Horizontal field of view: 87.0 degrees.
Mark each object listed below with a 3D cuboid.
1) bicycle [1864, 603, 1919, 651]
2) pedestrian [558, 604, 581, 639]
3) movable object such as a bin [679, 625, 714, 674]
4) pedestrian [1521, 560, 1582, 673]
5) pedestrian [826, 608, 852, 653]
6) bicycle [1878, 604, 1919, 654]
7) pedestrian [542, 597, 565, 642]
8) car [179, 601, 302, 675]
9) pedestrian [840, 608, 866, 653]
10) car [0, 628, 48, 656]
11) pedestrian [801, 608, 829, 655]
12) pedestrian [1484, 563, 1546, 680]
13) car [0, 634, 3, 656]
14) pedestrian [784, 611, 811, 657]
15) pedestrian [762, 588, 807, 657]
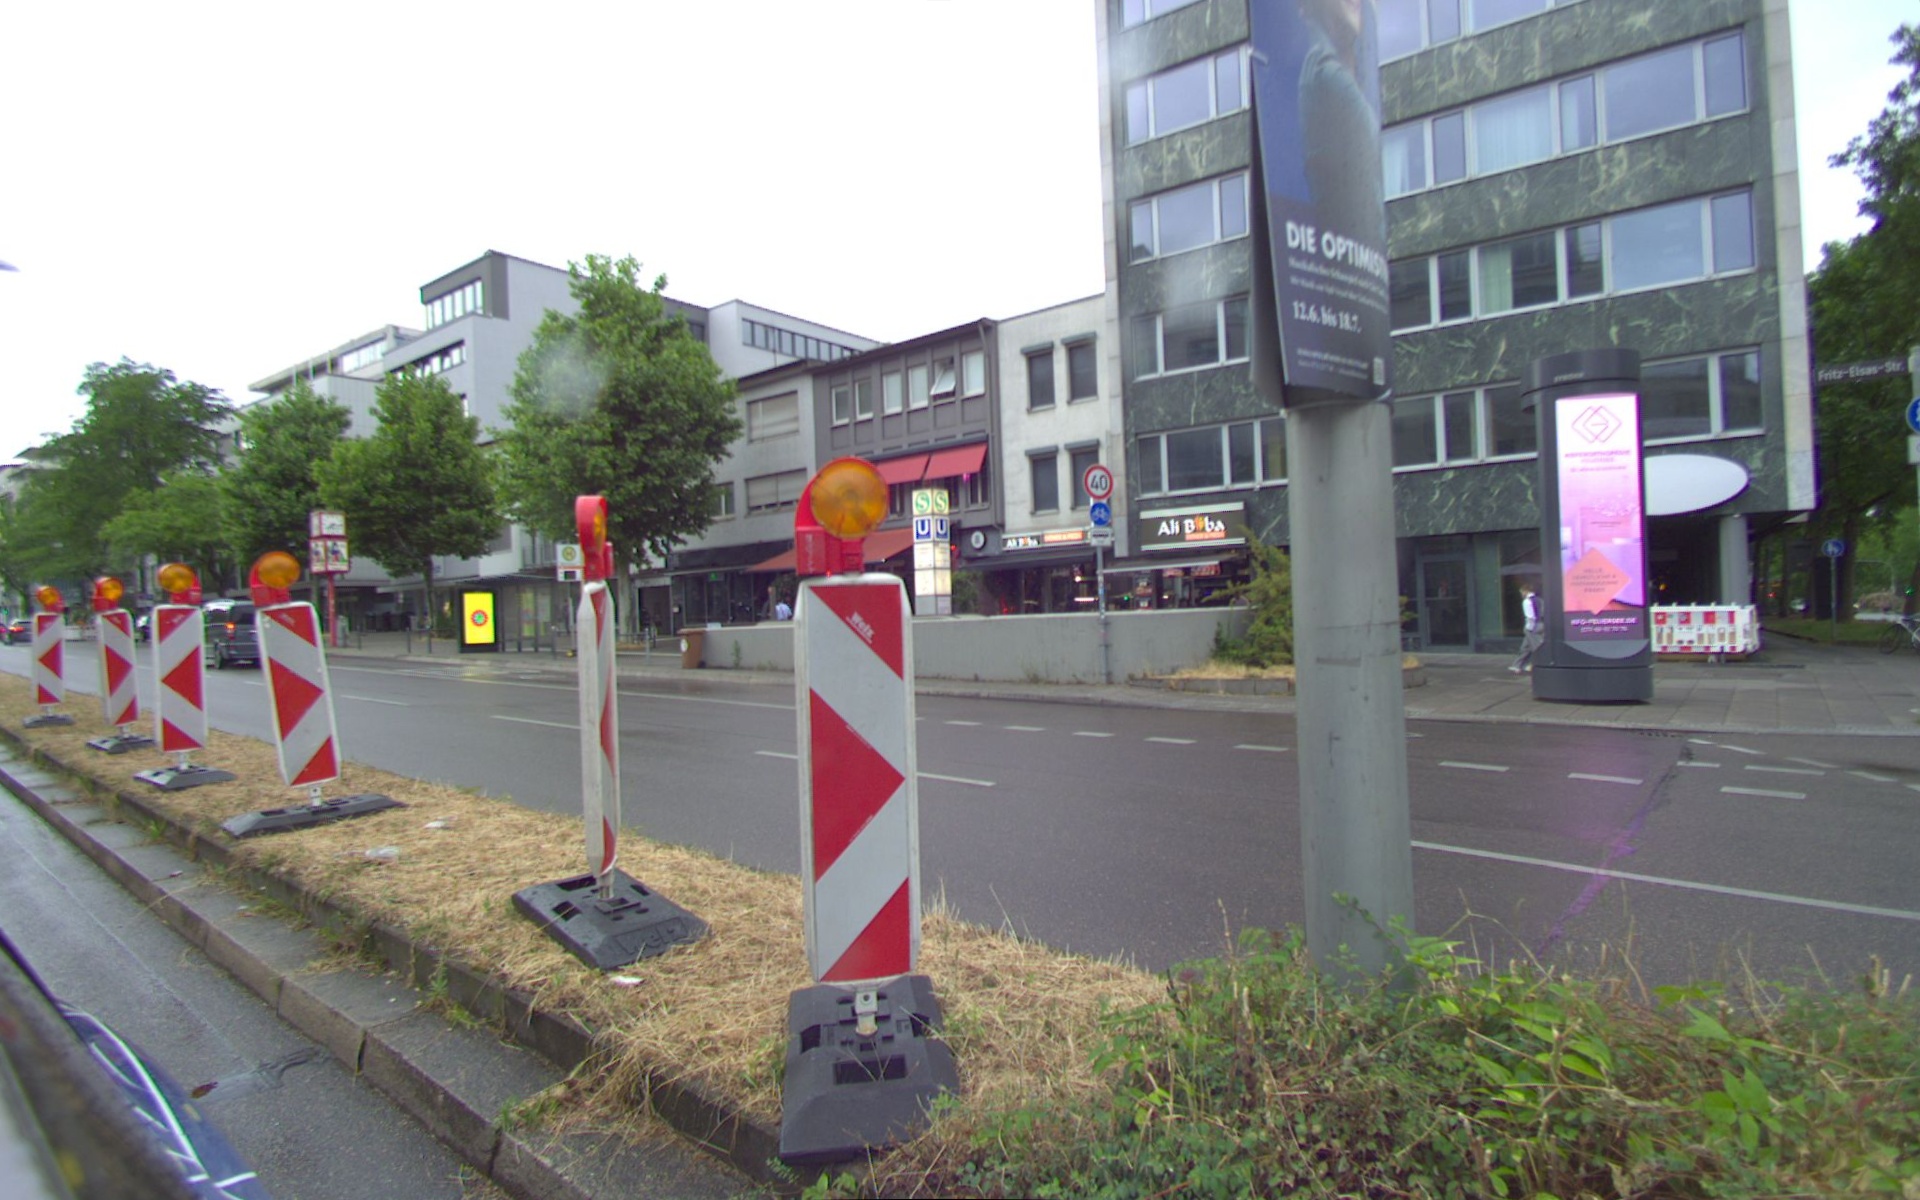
[{"bbox_3d":[21.254,0.597,22.394,1.780,1.060,0.579,-1,-1,37],"label":"bicycle"},{"bbox_3d":[-18.348,1.000,47.509,0.764,1.577,0.768,-1,0,-41],"label":"pedestrian"},{"bbox_3d":[-6.109,1.133,23.458,0.660,1.109,0.501,-1,0,39],"label":"movable object such as a bin"},{"bbox_3d":[10.835,0.298,18.554,0.588,2.029,0.730,0,-1,-29],"label":"pedestrian"},{"bbox_3d":[-4.238,1.069,35.466,0.611,1.540,0.660,-2,-1,44],"label":"pedestrian"},{"bbox_3d":[20.771,0.602,21.503,1.780,1.060,0.579,-1,-1,37],"label":"bicycle"},{"bbox_3d":[-18.698,0.904,46.509,0.764,2.029,0.768,-1,0,-41],"label":"pedestrian"},{"bbox_3d":[-20.868,1.002,29.282,4.966,1.942,1.972,0,0,43],"label":"car"},{"bbox_3d":[-3.701,1.045,34.965,0.611,1.540,0.660,-2,-1,44],"label":"pedestrian"},{"bbox_3d":[-52.168,2.336,56.024,4.284,1.522,1.672,-2,-3,37],"label":"car"},{"bbox_3d":[-4.828,1.046,33.700,0.611,1.540,0.660,-2,-1,44],"label":"pedestrian"},{"bbox_3d":[9.838,0.373,17.957,0.588,2.029,0.730,0,-1,-29],"label":"pedestrian"},{"bbox_3d":[-72.375,3.515,75.027,4.211,1.442,1.670,-12,-8,40],"label":"car"},{"bbox_3d":[-5.517,1.157,34.276,0.611,1.540,0.660,-2,-1,44],"label":"pedestrian"},{"bbox_3d":[-5.280,0.664,30.426,0.943,2.029,0.910,-1,0,41],"label":"pedestrian"}]
